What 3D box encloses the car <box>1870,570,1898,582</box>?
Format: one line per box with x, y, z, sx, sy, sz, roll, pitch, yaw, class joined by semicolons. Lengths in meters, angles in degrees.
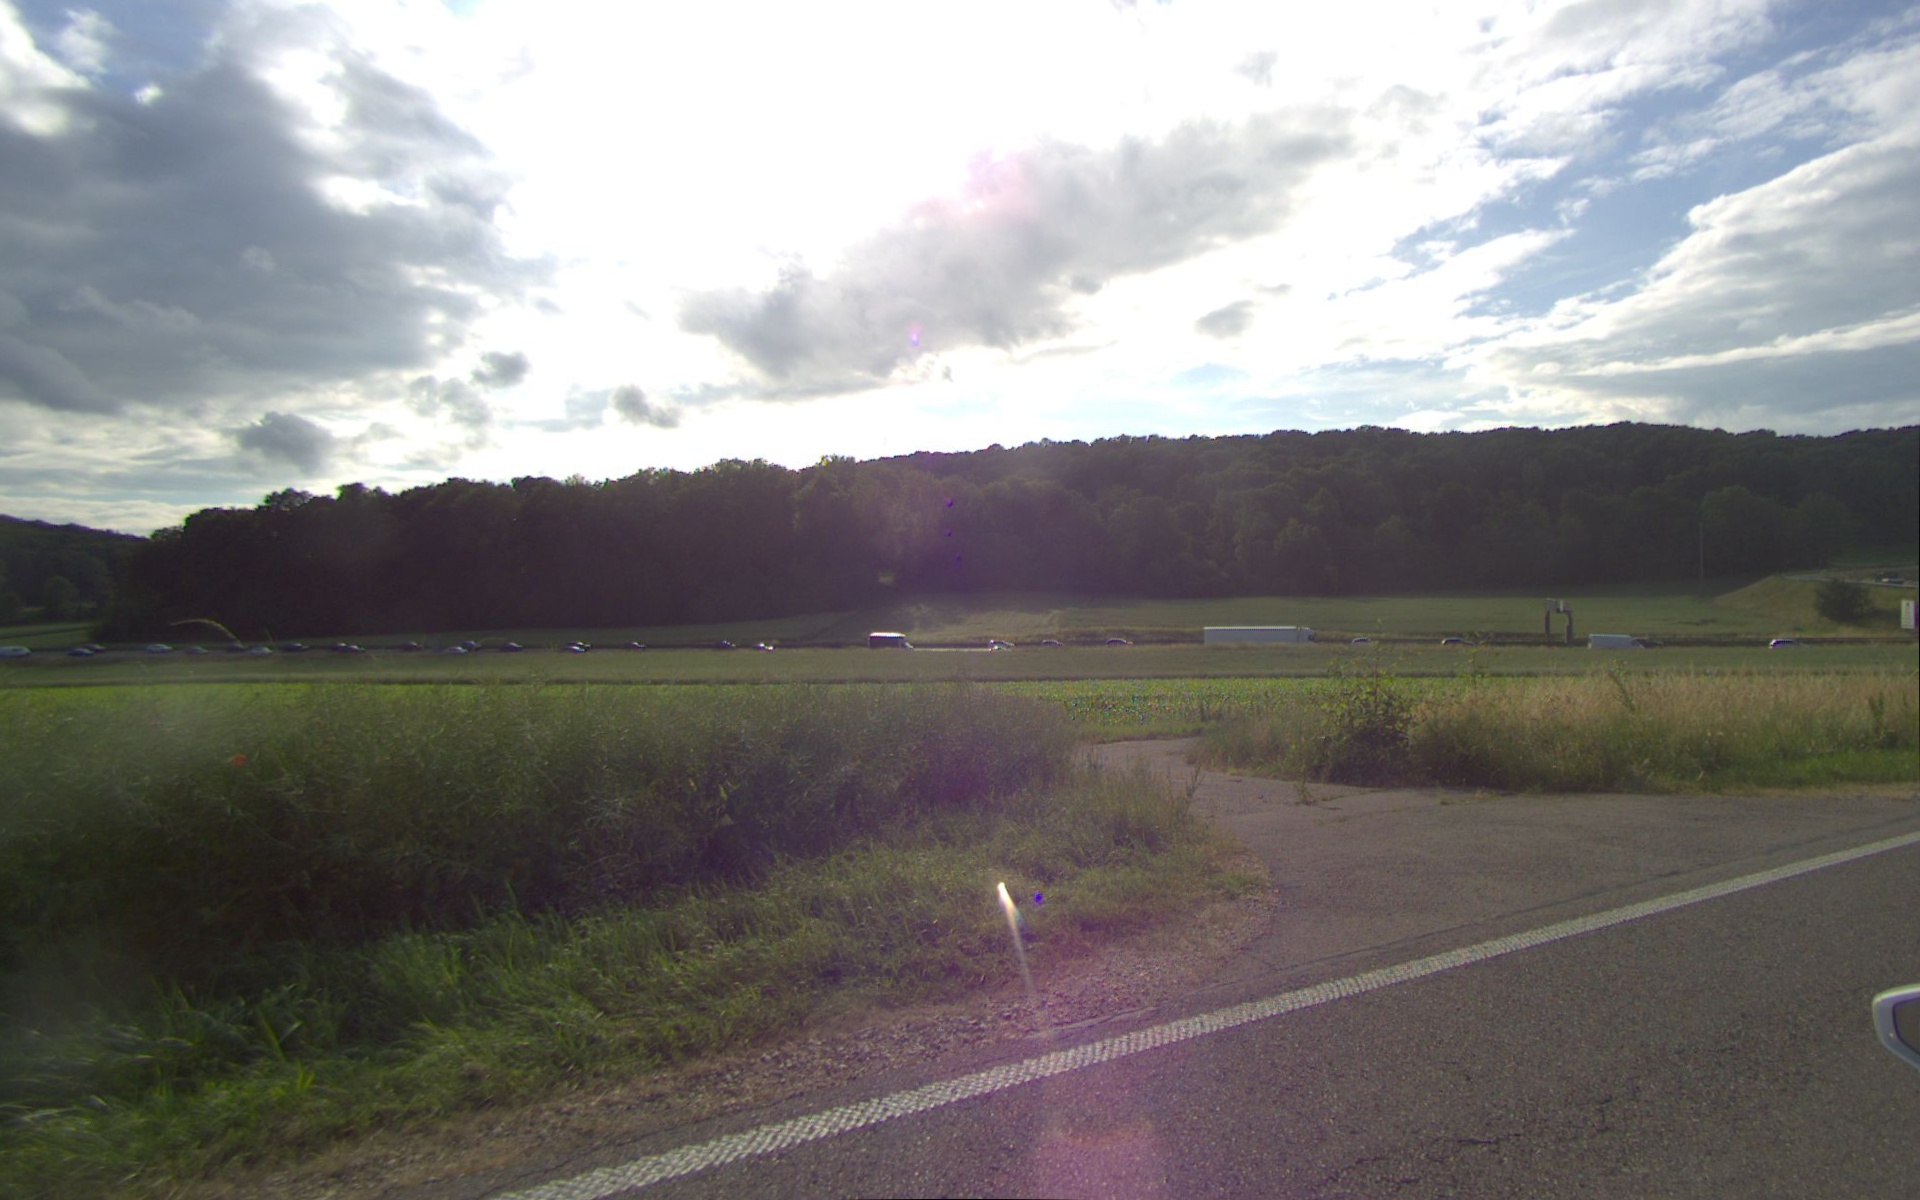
146.916;-3.769;159.798;1.962;1.795;3.998;-3;-1;22;car

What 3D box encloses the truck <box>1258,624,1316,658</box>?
48.038;6.038;147.884;7.895;4.529;3.029;-2;4;16;truck

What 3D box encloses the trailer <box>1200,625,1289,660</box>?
42.317;6.317;149.531;12.473;4.529;3.032;-2;4;16;trailer

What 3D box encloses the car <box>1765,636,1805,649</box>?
106.205;5.535;129.358;3.551;1.654;1.655;-1;-3;23;car

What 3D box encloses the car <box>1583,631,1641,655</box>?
87.419;5.726;134.797;6.002;2.620;2.373;-3;5;17;car

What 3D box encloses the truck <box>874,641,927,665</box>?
-9.767;8.618;163.554;8.331;3.450;2.123;-3;0;21;truck
